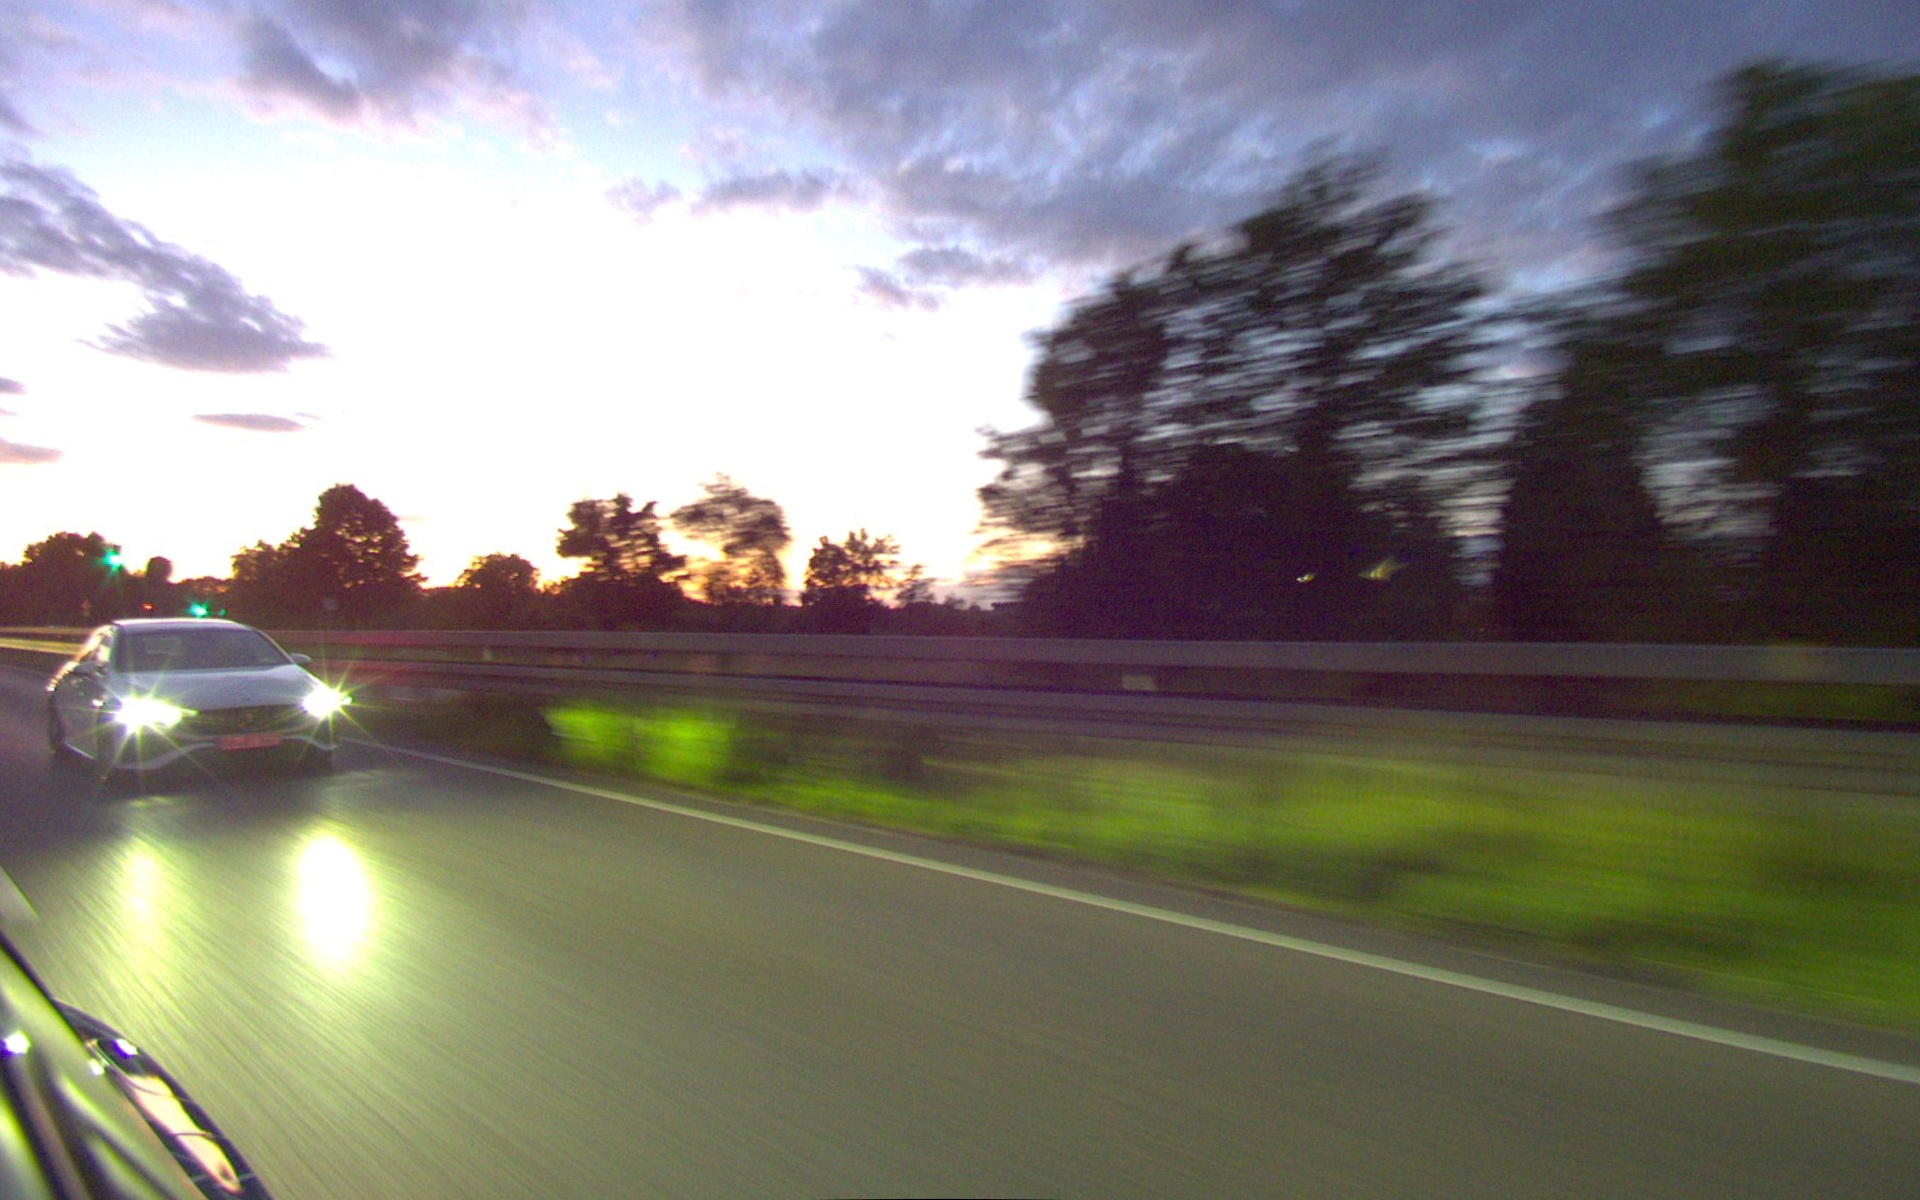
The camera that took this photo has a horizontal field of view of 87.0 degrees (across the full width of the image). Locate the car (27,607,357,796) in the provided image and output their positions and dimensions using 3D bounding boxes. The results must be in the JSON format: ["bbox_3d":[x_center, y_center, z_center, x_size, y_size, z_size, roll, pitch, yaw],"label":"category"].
[{"bbox_3d":[-8.046,0.904,10.417,4.644,1.447,1.796,-3,1,42],"label":"car"}]

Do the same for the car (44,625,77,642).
[{"bbox_3d":[-79.856,2.938,89.861,4.027,1.395,1.635,-1,0,40],"label":"car"}]
